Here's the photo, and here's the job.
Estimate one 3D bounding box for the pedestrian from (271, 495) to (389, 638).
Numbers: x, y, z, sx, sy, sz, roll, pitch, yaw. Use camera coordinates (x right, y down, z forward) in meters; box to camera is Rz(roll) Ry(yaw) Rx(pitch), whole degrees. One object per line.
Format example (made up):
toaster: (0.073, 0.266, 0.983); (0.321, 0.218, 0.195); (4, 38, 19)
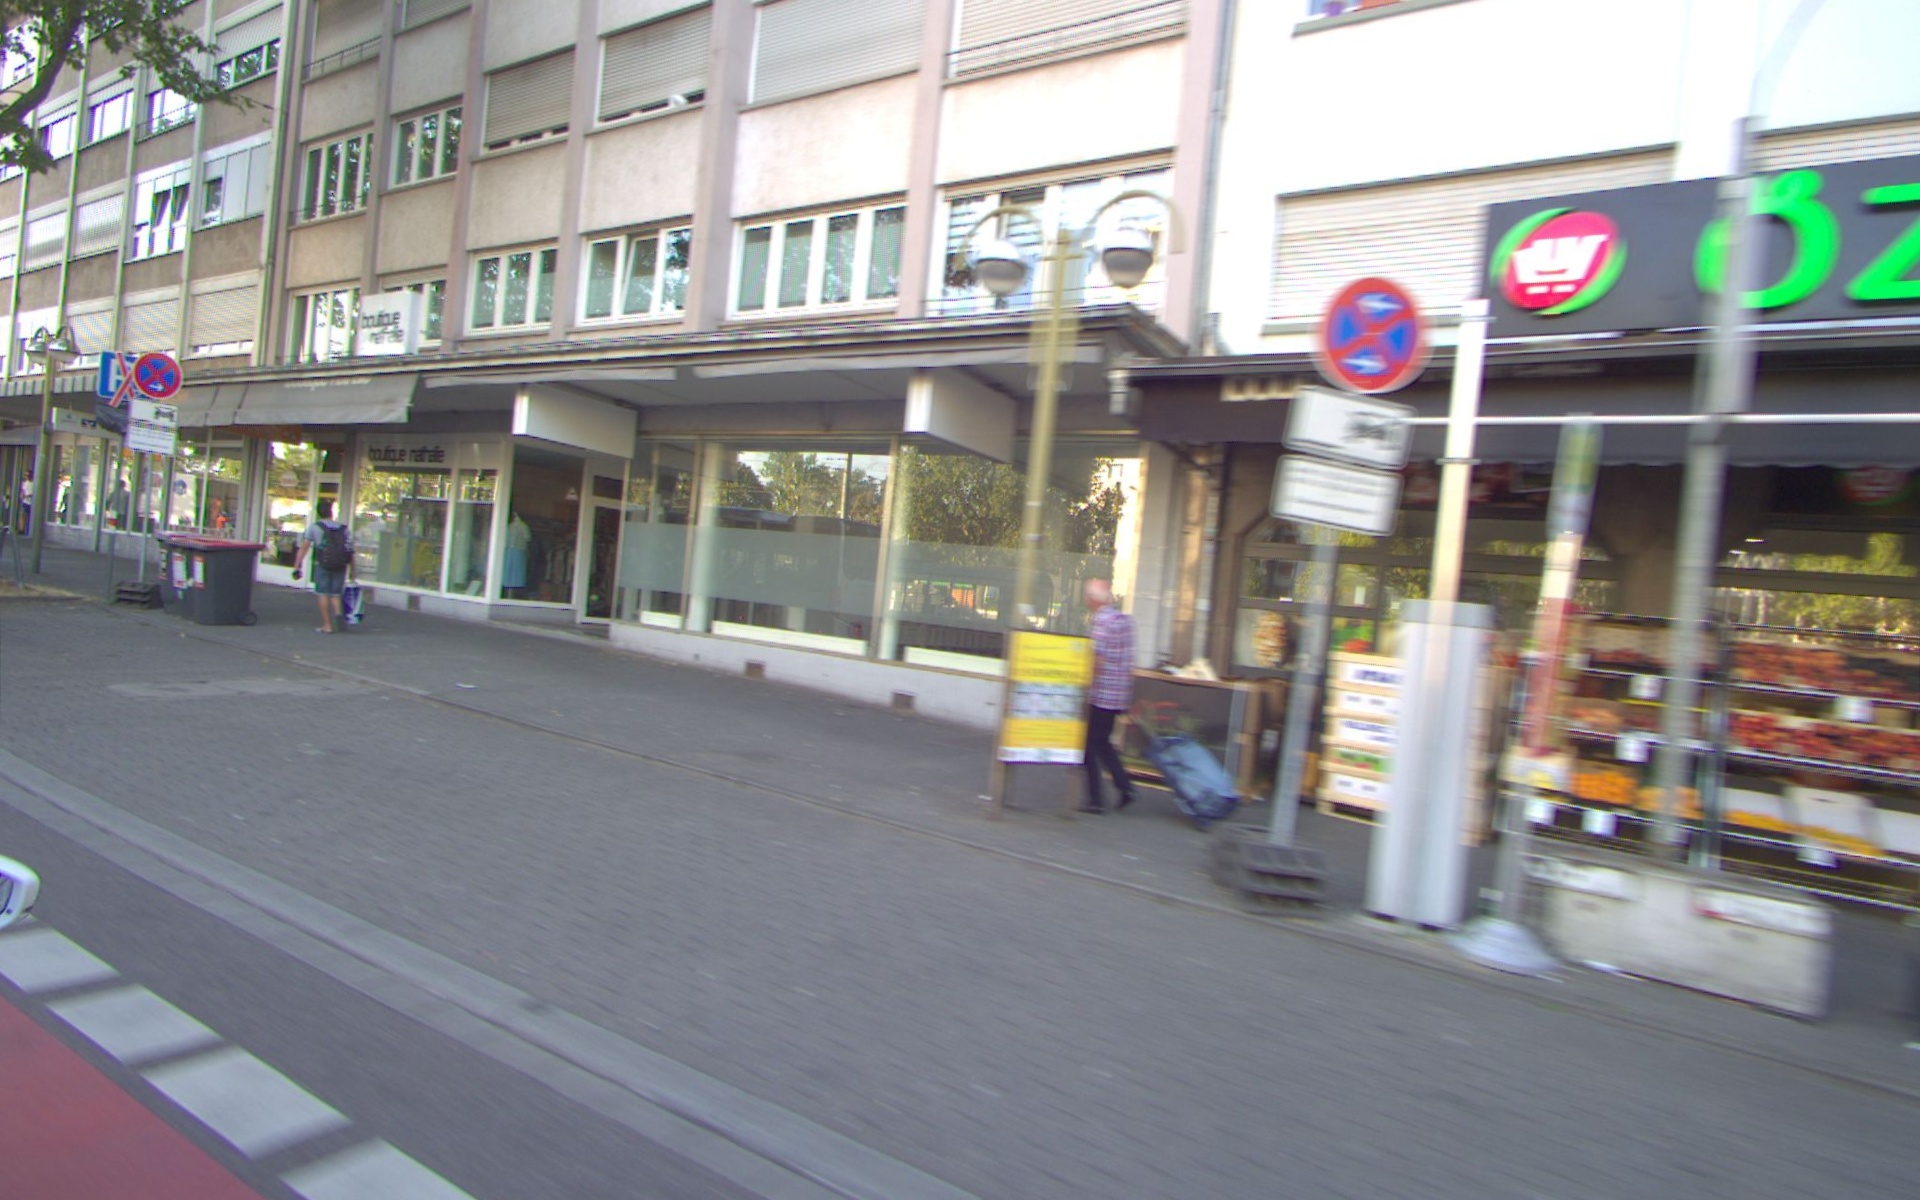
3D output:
pedestrian: (-8.045, -0.420, 12.860); (0.973, 1.695, 0.843); (7, 2, 31)

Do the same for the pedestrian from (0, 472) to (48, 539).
pedestrian: (-25.268, -2.545, 26.990); (1.053, 1.722, 0.897); (7, 7, 32)

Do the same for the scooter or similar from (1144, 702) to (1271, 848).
scooter or similar: (1.759, 1.208, 7.105); (0.720, 0.854, 0.577); (6, 0, 21)

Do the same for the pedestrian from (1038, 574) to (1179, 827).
pedestrian: (1.067, 0.704, 7.223); (0.643, 1.694, 0.549); (6, 1, -43)

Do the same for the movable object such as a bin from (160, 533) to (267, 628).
movable object such as a bin: (-9.548, -0.255, 12.862); (1.207, 1.090, 0.674); (6, 3, 32)
